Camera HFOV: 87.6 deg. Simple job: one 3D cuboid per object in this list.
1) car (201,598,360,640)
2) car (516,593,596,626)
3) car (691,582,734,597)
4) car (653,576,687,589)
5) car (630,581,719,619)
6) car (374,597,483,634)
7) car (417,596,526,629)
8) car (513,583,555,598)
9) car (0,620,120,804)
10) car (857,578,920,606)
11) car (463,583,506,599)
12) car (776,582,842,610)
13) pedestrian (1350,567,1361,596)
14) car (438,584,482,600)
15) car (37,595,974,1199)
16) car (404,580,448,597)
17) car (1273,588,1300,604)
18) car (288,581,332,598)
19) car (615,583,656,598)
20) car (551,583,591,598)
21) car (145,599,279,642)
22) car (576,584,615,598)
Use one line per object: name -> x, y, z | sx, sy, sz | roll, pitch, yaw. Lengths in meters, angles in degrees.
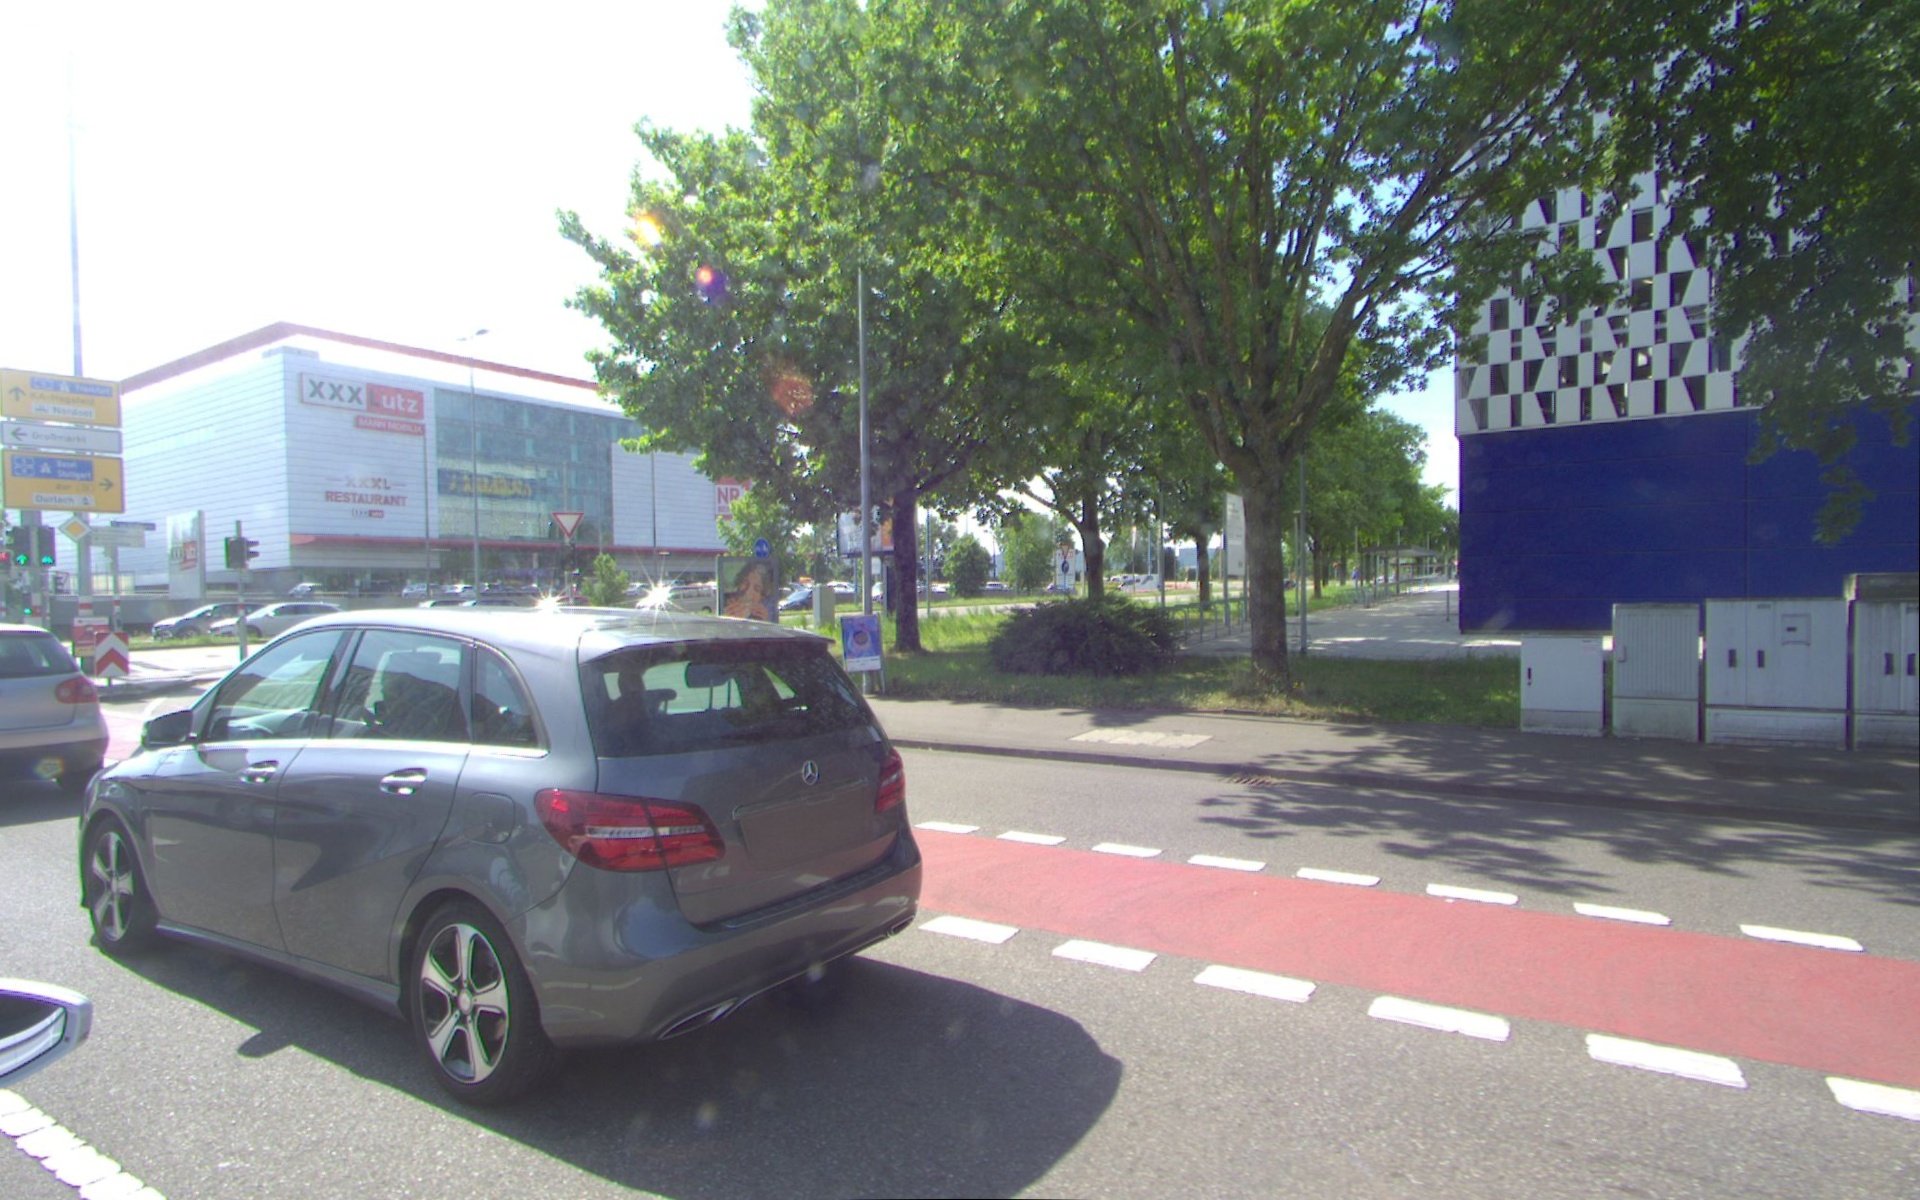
car -> -26.196, 0.722, 38.760 | 1.933, 1.444, 4.701 | -2, 0, 35
car -> -20.519, 0.477, 50.995 | 1.578, 1.597, 3.458 | 0, 1, 36
car -> -24.357, -1.001, 98.631 | 4.051, 1.439, 1.784 | 0, 1, 33
car -> -34.727, -2.086, 119.857 | 4.143, 1.439, 1.679 | 0, 1, 35
car -> -16.261, -0.012, 57.177 | 1.937, 2.002, 4.658 | -2, 0, 35
car -> -24.372, 0.678, 46.035 | 1.883, 1.528, 4.015 | -2, 1, 35
car -> -21.701, 0.554, 44.618 | 1.701, 1.360, 4.032 | -1, 0, 34
car -> -42.051, -0.927, 98.750 | 4.143, 1.439, 1.895 | 0, 1, 35
car -> -9.093, 0.894, 8.724 | 3.628, 1.433, 1.664 | 0, -1, 31
car -> -5.172, -0.585, 73.122 | 1.890, 1.961, 4.757 | -2, 0, 37
car -> -45.019, -0.829, 94.823 | 4.143, 1.439, 1.866 | 0, 1, 35
car -> -9.371, -0.258, 62.532 | 1.662, 1.642, 4.102 | 0, 1, 37
pedestrian -> 28.389, -1.328, 71.936 | 0.670, 2.039, 0.600 | -1, -1, 18
car -> -46.032, -0.740, 92.146 | 4.143, 1.439, 1.826 | 0, 1, 35
car -> -2.135, 0.773, 4.392 | 4.077, 1.559, 1.771 | 0, 0, 31
car -> -48.110, -1.050, 90.229 | 3.950, 1.439, 1.795 | 0, 1, 32
car -> 33.952, -0.427, 104.111 | 1.618, 1.556, 3.893 | 0, 1, 34
car -> -56.395, -0.879, 86.873 | 4.143, 1.439, 1.765 | 0, 1, 35
car -> -31.525, -0.907, 97.267 | 4.053, 1.439, 1.679 | 0, 1, 35
car -> -39.873, -0.950, 102.594 | 4.142, 1.439, 1.799 | 0, 1, 34
car -> -29.350, 0.760, 39.396 | 1.785, 1.579, 3.871 | -1, 0, 36
car -> -38.056, -0.953, 104.430 | 4.143, 1.439, 1.730 | 0, 1, 35
